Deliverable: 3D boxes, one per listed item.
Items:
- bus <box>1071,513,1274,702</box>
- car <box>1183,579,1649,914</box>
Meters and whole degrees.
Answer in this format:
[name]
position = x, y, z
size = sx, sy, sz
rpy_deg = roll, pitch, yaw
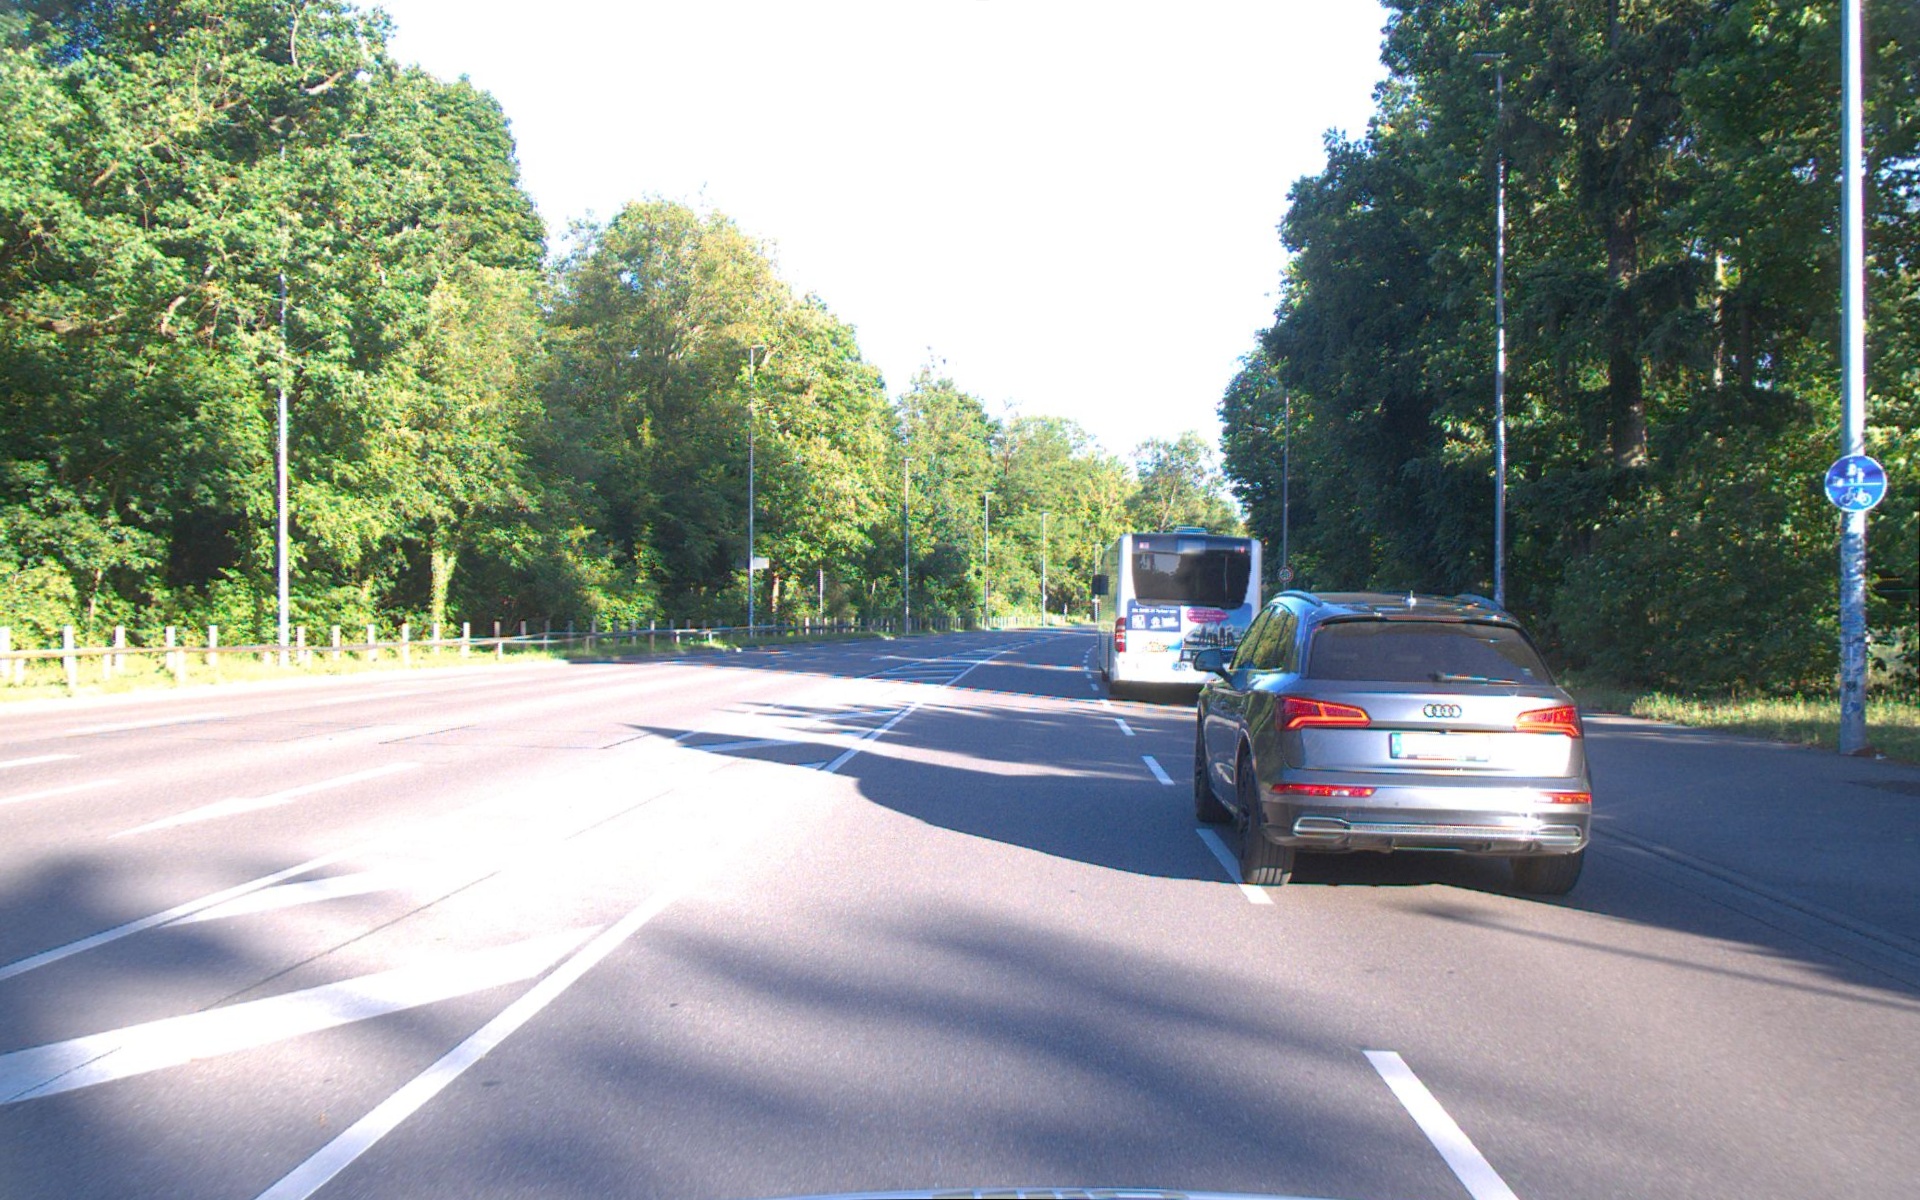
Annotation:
[bus]
position = 3.986, 0.164, 33.917
size = 2.634, 3.096, 12.041
rpy_deg = 2, 0, 0
[car]
position = 2.609, 0.742, 10.634
size = 1.854, 1.633, 4.545
rpy_deg = 2, 0, 2
